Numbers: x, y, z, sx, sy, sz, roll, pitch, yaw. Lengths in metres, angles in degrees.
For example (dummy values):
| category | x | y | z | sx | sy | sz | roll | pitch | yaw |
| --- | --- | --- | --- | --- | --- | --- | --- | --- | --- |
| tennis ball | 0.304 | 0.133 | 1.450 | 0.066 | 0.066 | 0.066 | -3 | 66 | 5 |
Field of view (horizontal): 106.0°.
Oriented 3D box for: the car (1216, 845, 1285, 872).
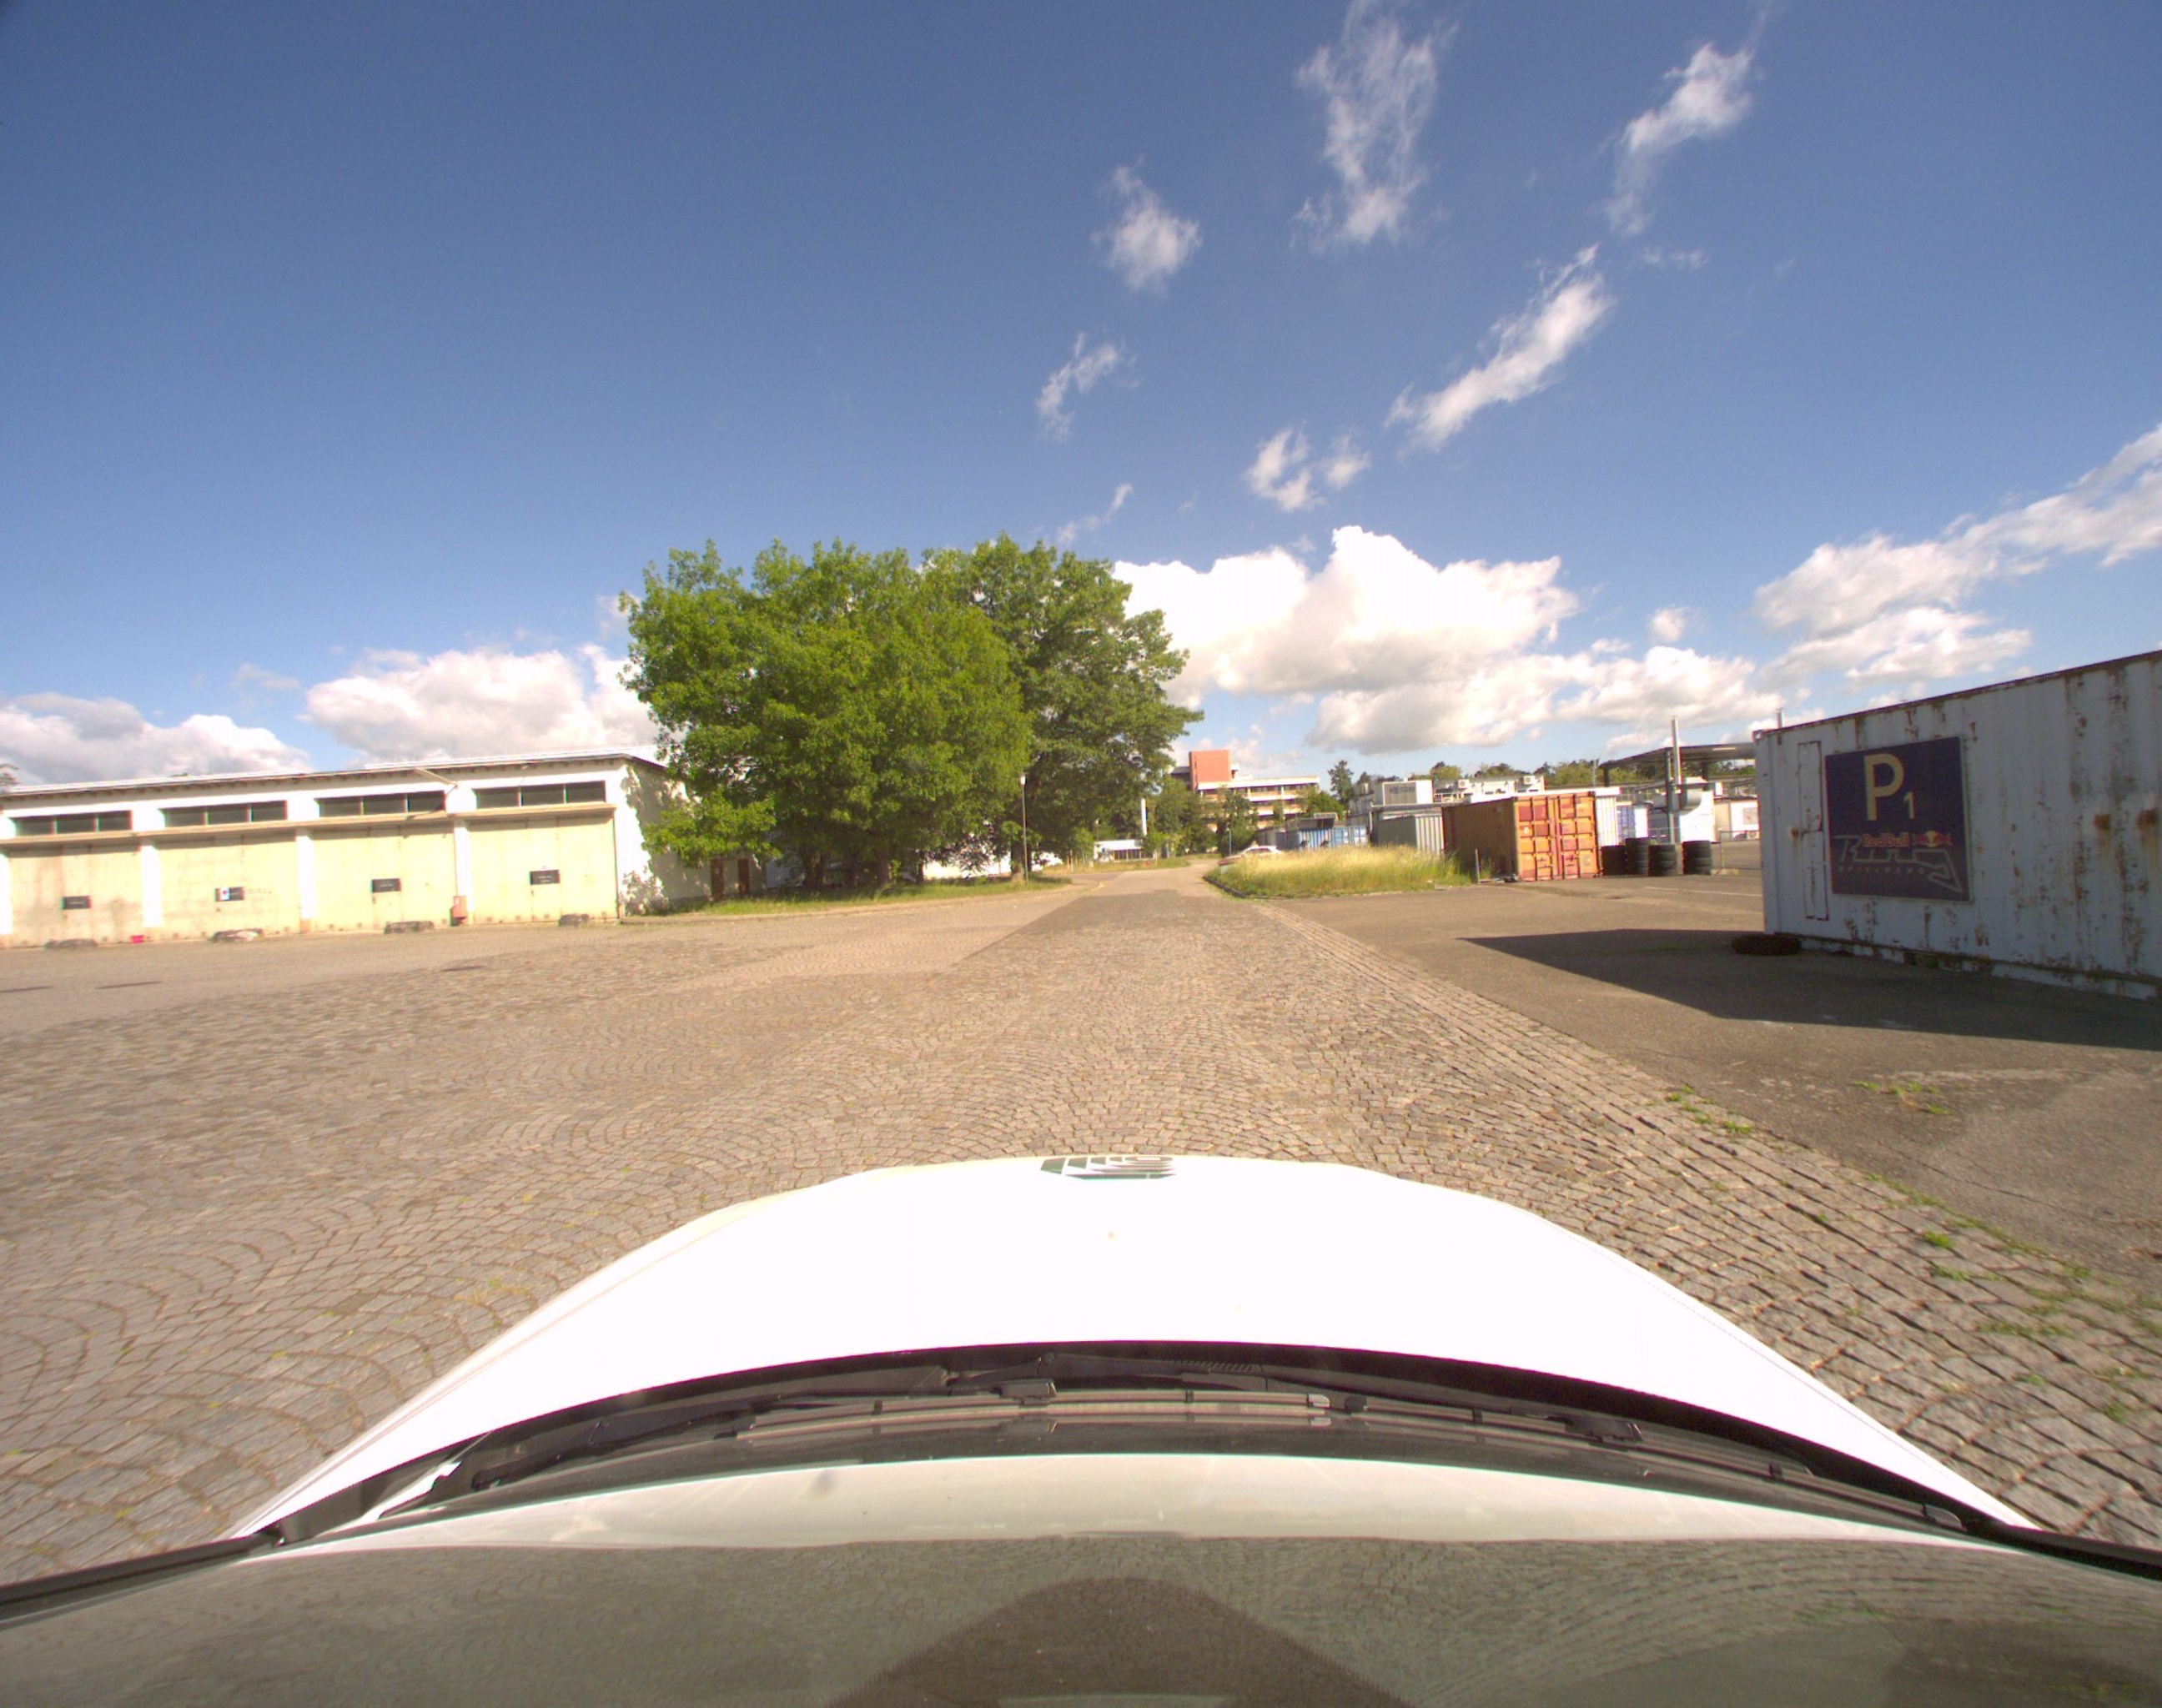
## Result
| category | x | y | z | sx | sy | sz | roll | pitch | yaw |
| --- | --- | --- | --- | --- | --- | --- | --- | --- | --- |
| car | 11.997 | 0.309 | 57.936 | 4.485 | 1.647 | 2.002 | -3 | 0 | 3 |
